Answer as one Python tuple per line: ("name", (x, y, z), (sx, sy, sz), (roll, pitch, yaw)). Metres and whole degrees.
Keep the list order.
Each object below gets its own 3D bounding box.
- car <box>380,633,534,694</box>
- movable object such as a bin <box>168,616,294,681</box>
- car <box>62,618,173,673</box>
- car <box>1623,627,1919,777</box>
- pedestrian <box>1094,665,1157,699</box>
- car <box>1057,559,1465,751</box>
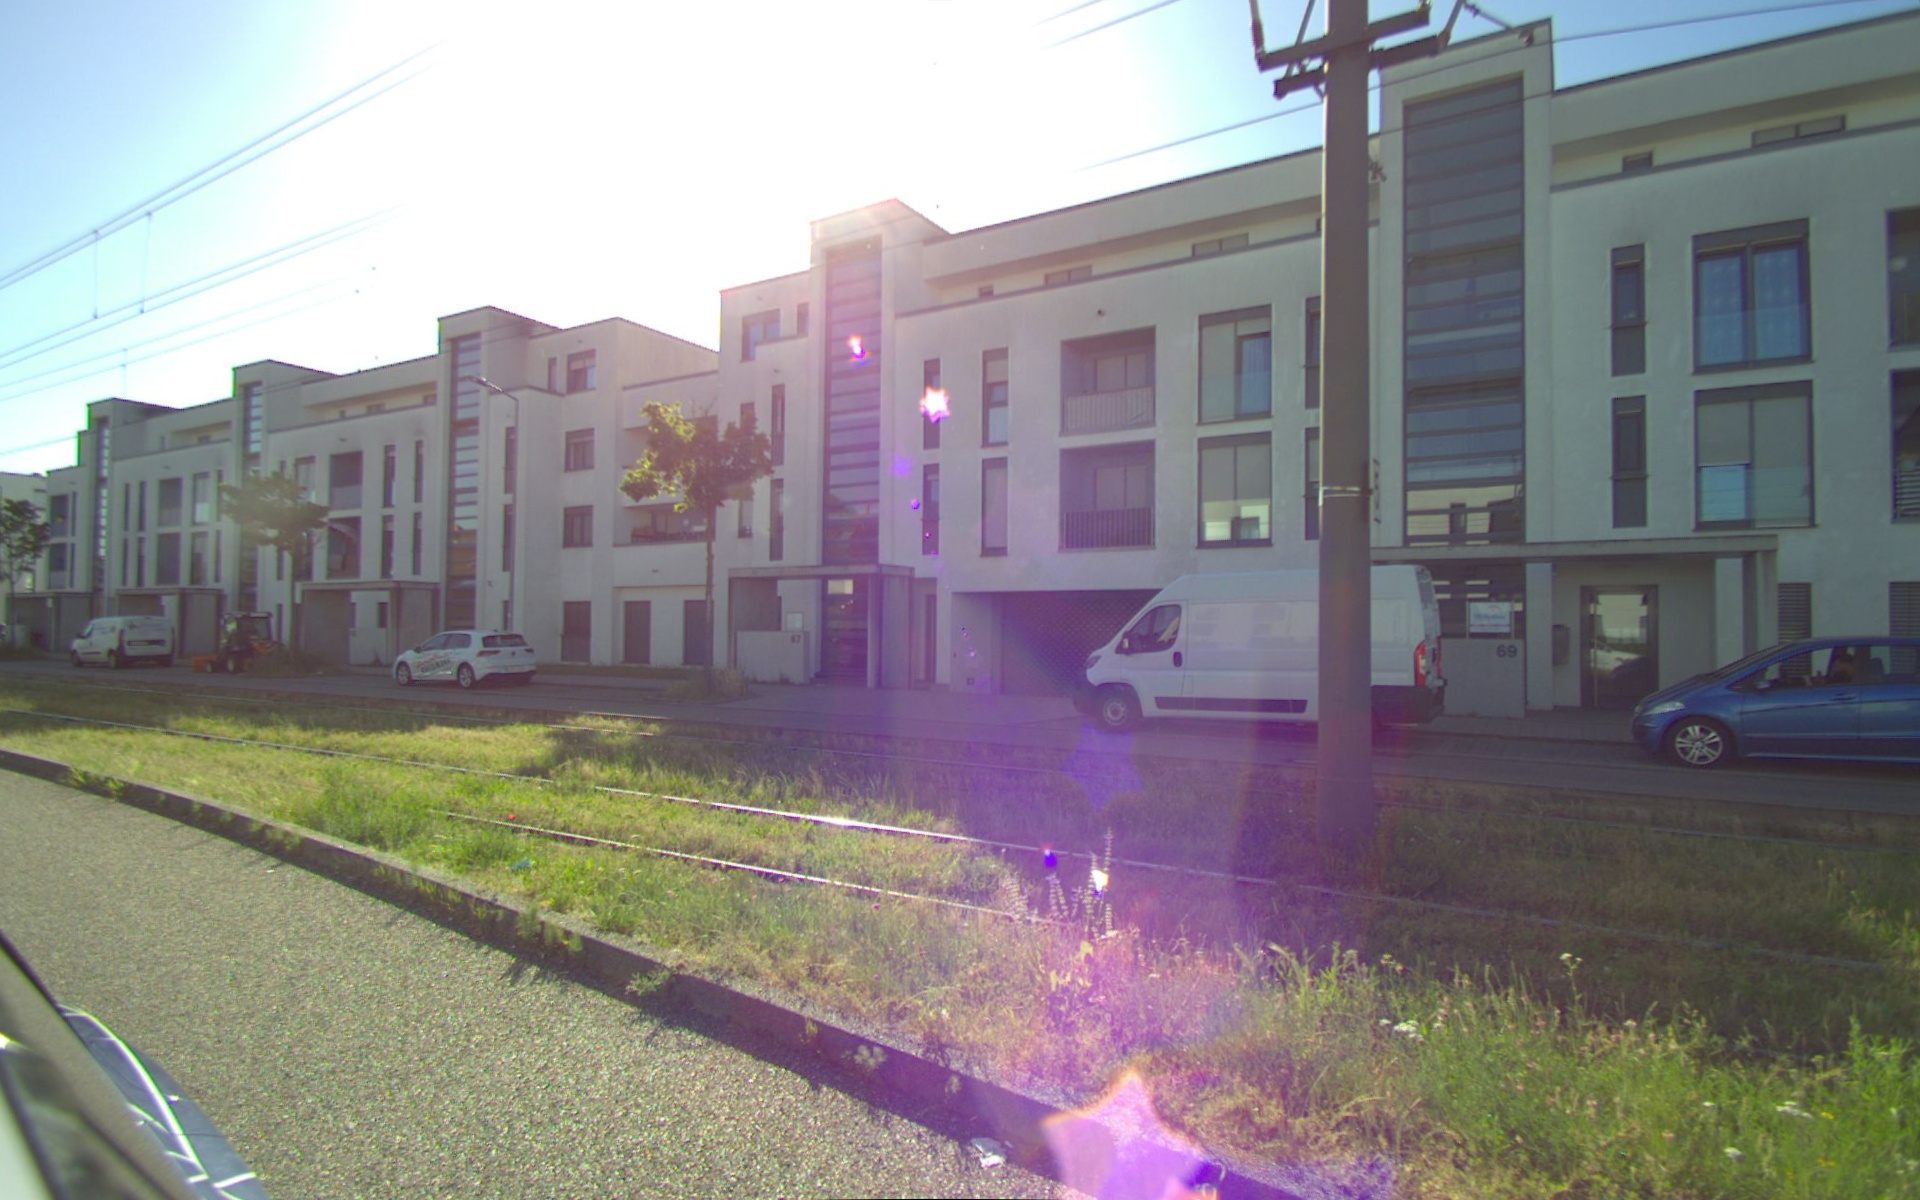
("car", (-13.026, 1.587, 26.150), (4.139, 1.443, 1.507), (-1, -1, 29))
("movable object such as a bin", (-23.467, 1.512, 32.553), (4.139, 1.952, 1.750), (-1, -1, 29))
("car", (-30.485, 1.625, 36.586), (4.139, 1.884, 1.750), (-1, -1, 29))
("car", (10.088, 1.115, 11.847), (3.831, 1.548, 1.809), (-1, -1, 33))
("pedestrian", (3.487, 1.721, 21.340), (1.283, 0.658, 0.361), (-1, -1, 36))
("car", (4.460, 0.759, 15.366), (5.570, 2.463, 2.124), (-1, -1, 32))
